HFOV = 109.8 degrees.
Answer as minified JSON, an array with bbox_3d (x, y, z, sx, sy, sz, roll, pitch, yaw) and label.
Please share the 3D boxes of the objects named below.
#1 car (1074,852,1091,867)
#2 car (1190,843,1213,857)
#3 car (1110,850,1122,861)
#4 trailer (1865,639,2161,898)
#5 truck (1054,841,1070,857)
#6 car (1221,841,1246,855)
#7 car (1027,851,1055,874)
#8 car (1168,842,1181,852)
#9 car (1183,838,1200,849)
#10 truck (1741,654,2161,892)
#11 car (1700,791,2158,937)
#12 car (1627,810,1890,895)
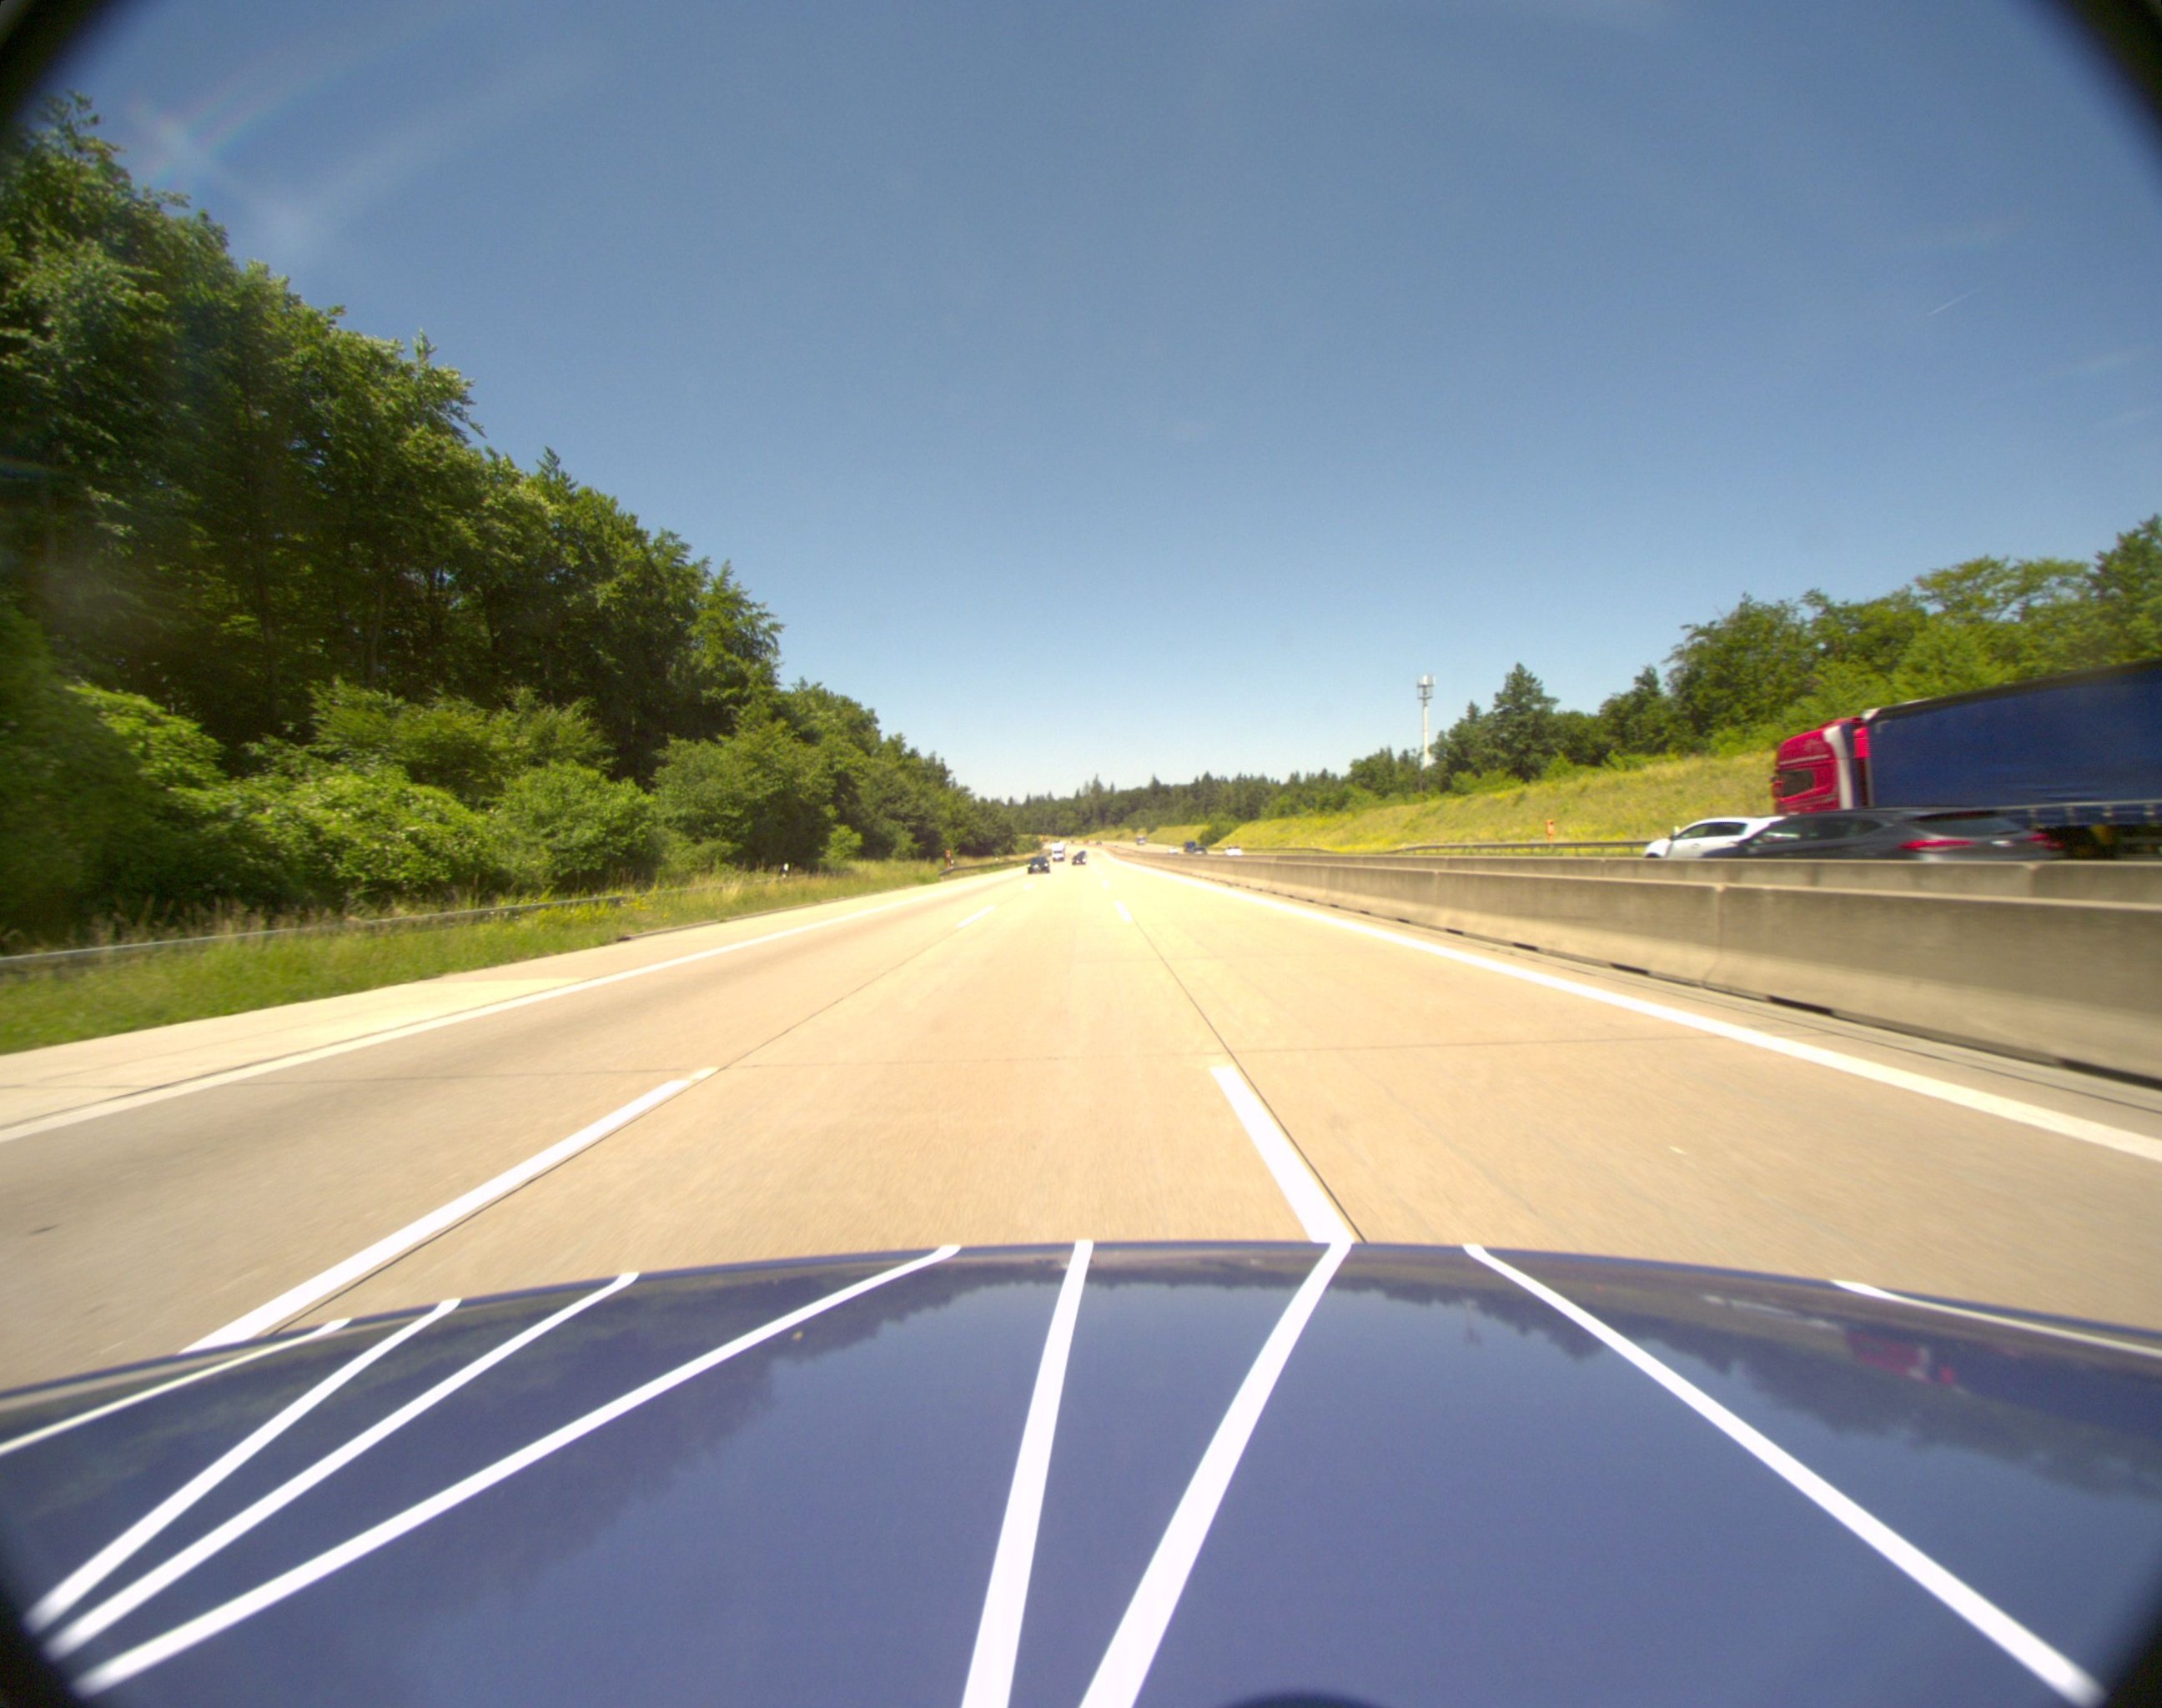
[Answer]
[{"bbox_3d":[0.217,0.741,100.657,1.998,1.694,4.399,-3,1,2],"label":"car"},{"bbox_3d":[14.327,-0.531,90.444,1.998,1.529,4.195,-3,0,1],"label":"car"},{"bbox_3d":[5.985,0.206,128.892,1.998,1.694,4.400,-3,1,3],"label":"car"},{"bbox_3d":[20.101,-1.491,10.887,3.395,4.406,13.921,-3,1,1],"label":"trailer"},{"bbox_3d":[-3.527,-0.922,143.945,2.483,2.780,5.915,-3,1,2],"label":"truck"},{"bbox_3d":[17.509,-0.681,87.302,1.998,1.555,4.000,-3,0,1],"label":"car"},{"bbox_3d":[-3.374,0.673,65.125,1.931,1.694,4.399,-3,1,2],"label":"car"},{"bbox_3d":[18.651,-1.436,151.762,2.013,1.797,4.853,-3,0,1],"label":"car"},{"bbox_3d":[22.655,-2.111,155.565,2.487,2.197,6.458,-3,0,1],"label":"car"},{"bbox_3d":[20.182,-1.621,17.843,3.395,4.406,6.799,-3,1,1],"label":"truck"},{"bbox_3d":[12.091,0.105,11.420,1.998,1.682,4.371,-3,0,1],"label":"car"},{"bbox_3d":[15.795,-0.049,18.187,1.998,1.682,4.816,-3,0,1],"label":"car"}]
